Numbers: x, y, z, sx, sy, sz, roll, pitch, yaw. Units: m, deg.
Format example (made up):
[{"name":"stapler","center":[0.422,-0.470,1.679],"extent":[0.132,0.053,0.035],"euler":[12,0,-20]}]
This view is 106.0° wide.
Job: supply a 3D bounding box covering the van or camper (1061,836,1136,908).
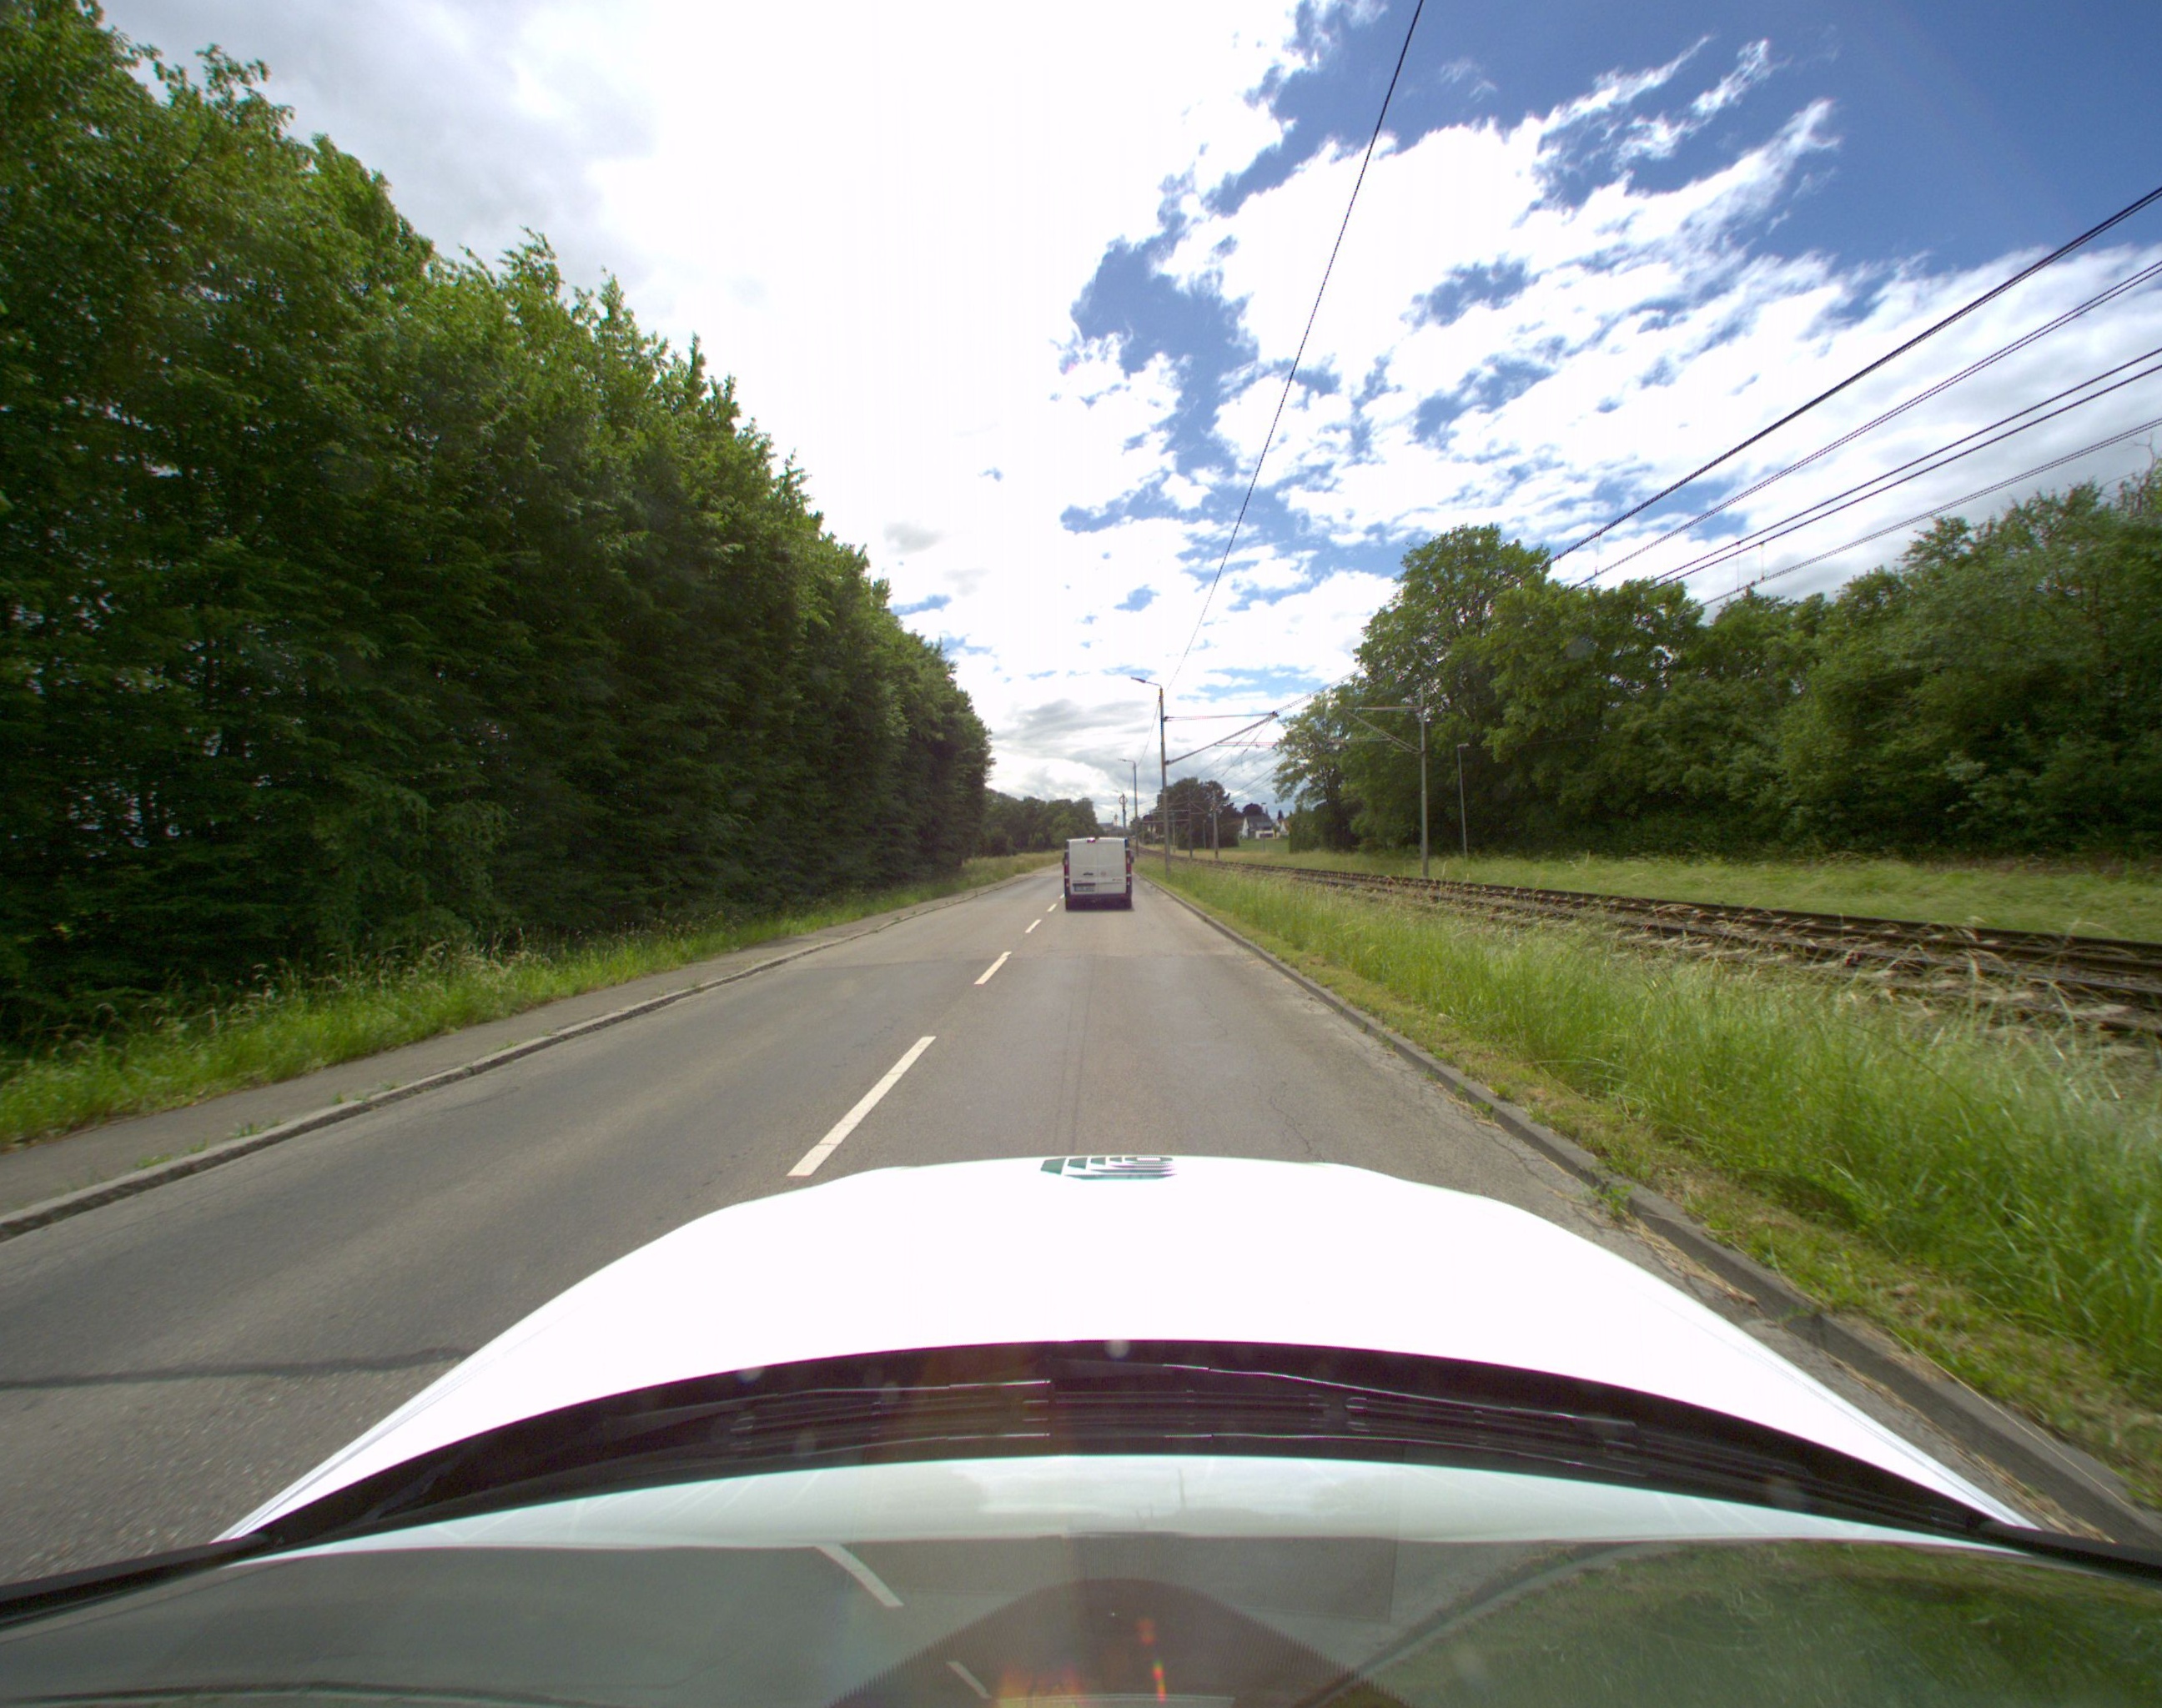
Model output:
[{"name":"van or camper","center":[0.594,0.458,23.557],"extent":[1.933,1.897,4.290],"euler":[0,0,4]}]
